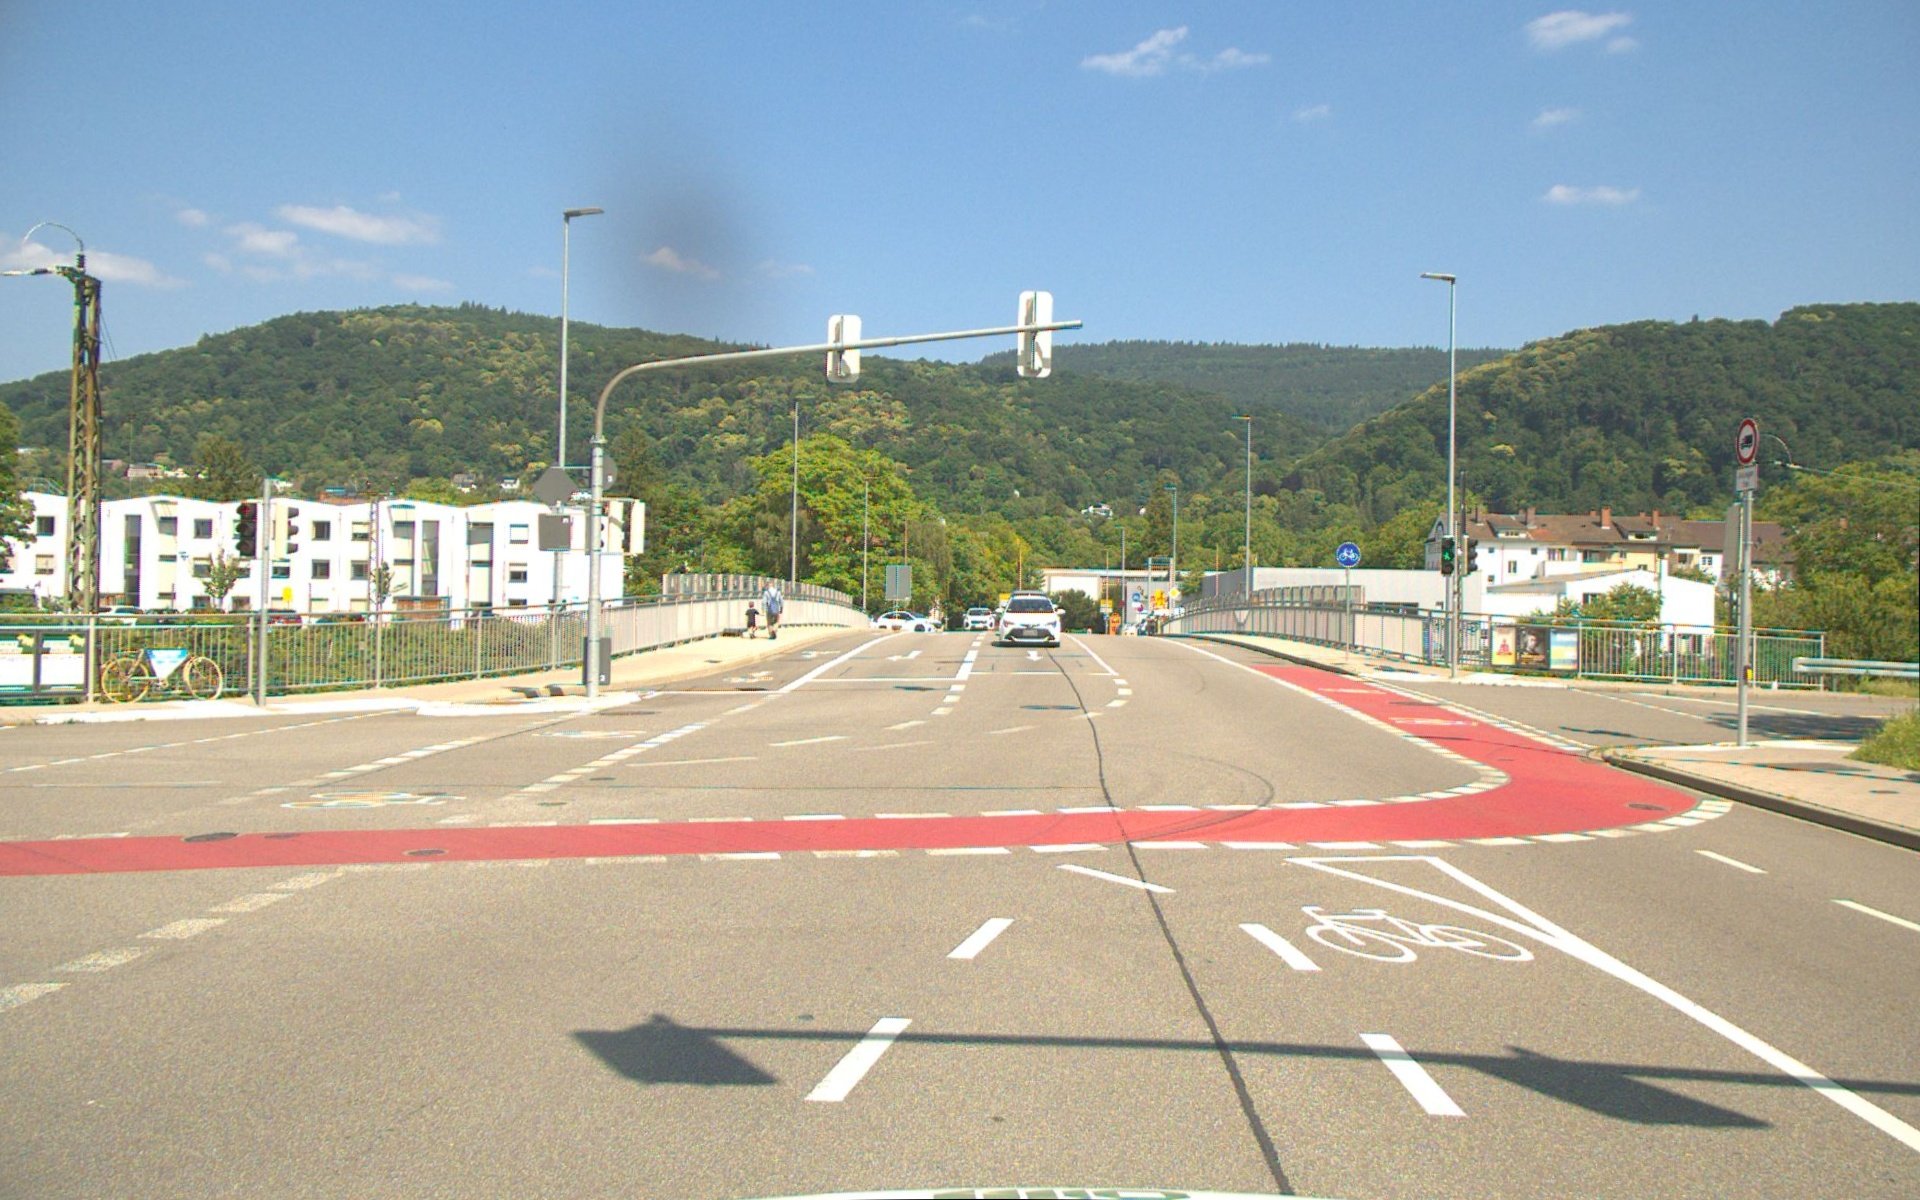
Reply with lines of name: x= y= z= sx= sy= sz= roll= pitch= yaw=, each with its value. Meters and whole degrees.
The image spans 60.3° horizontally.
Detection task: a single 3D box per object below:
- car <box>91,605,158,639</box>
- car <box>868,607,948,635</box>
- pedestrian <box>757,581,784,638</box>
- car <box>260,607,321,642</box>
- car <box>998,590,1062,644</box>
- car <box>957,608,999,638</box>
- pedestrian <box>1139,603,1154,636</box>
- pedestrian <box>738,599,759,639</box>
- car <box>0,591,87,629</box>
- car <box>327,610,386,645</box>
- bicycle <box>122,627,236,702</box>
car: x=-51.880 y=1.341 z=102.781 sx=1.953 sy=2.049 sz=4.469 roll=1 pitch=0 yaw=-1
car: x=-3.381 y=1.337 z=107.042 sx=4.955 sy=1.749 sz=1.995 roll=1 pitch=0 yaw=33
pedestrian: x=-5.544 y=0.282 z=48.440 sx=0.630 sy=1.646 sz=0.921 roll=1 pitch=0 yaw=1
car: x=-40.900 y=1.478 z=101.139 sx=1.953 sy=2.049 sz=4.469 roll=1 pitch=0 yaw=-1
car: x=2.022 y=0.482 z=48.626 sx=1.695 sy=1.495 sz=4.410 roll=1 pitch=0 yaw=0
car: x=1.049 y=1.360 z=99.422 sx=1.955 sy=1.749 sz=4.627 roll=1 pitch=0 yaw=-6
pedestrian: x=11.760 y=1.234 z=104.277 sx=0.837 sy=2.049 sz=1.155 roll=1 pitch=0 yaw=1
pedestrian: x=-6.163 y=0.546 z=48.197 sx=0.501 sy=1.141 sz=0.476 roll=1 pitch=0 yaw=1
car: x=-54.004 y=0.582 z=96.665 sx=4.898 sy=2.149 sz=1.990 roll=1 pitch=0 yaw=-18
car: x=-36.873 y=1.652 z=101.129 sx=1.953 sy=2.049 sz=4.469 roll=1 pitch=0 yaw=-1
bicycle: x=-12.064 y=0.980 z=25.593 sx=0.292 sy=1.120 sz=1.612 roll=0 pitch=0 yaw=39
